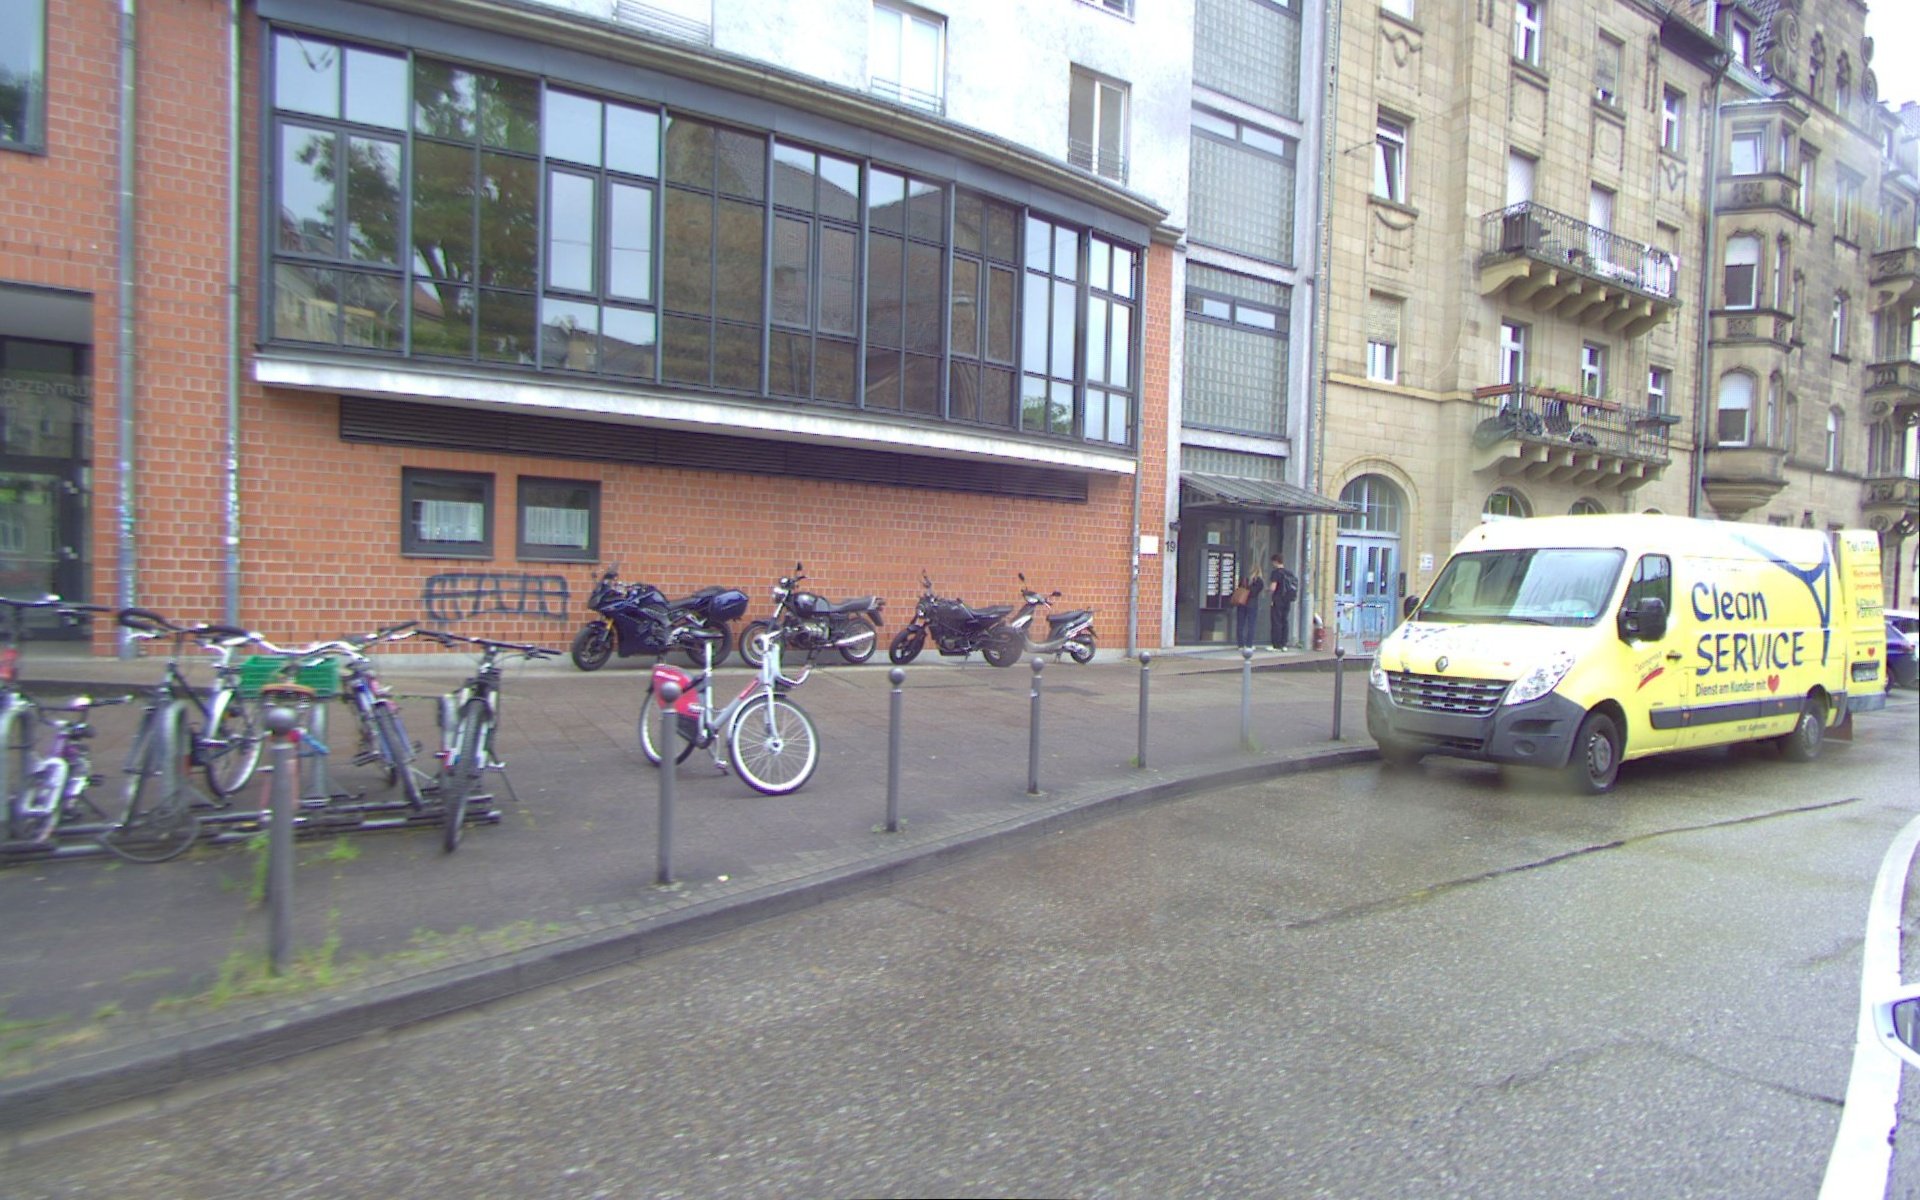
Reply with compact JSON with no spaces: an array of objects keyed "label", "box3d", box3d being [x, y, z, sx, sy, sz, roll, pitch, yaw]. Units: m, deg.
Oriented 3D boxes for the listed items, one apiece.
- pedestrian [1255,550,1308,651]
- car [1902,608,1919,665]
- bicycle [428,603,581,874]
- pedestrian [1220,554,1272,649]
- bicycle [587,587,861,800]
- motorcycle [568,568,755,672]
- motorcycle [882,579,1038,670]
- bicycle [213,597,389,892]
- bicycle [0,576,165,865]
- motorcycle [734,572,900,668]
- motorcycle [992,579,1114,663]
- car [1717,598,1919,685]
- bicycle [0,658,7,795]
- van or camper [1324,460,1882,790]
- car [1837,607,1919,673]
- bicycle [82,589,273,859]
[{"label":"pedestrian","box3d":[5.824,0.014,18.186,0.652,1.780,0.794,1,0,36]},{"label":"car","box3d":[28.803,1.140,27.710,3.595,1.579,1.808,4,2,24]},{"label":"bicycle","box3d":[-2.585,0.633,5.564,0.587,1.112,2.106,1,2,-29]},{"label":"pedestrian","box3d":[5.295,0.025,18.586,0.652,1.697,0.794,1,0,36]},{"label":"bicycle","box3d":[-1.650,0.587,6.976,1.778,1.229,0.631,4,2,24]},{"label":"motorcycle","box3d":[-3.702,0.247,12.502,2.091,1.190,0.749,1,3,-30]},{"label":"motorcycle","box3d":[-0.003,0.357,14.540,2.082,1.190,0.752,2,3,-19]},{"label":"bicycle","box3d":[-3.303,0.596,5.178,0.587,1.112,2.122,1,2,-29]},{"label":"bicycle","box3d":[-4.613,0.505,5.052,0.560,1.183,1.796,1,2,-25]},{"label":"motorcycle","box3d":[-1.936,0.264,13.698,2.094,1.190,0.748,1,3,-34]},{"label":"motorcycle","box3d":[1.434,0.316,15.606,1.748,1.190,0.572,3,3,-7]},{"label":"car","box3d":[18.624,0.856,21.386,3.595,1.579,1.798,4,2,24]},{"label":"bicycle","box3d":[-5.090,0.726,4.701,0.500,0.741,1.714,1,2,-29]},{"label":"van or camper","box3d":[6.920,0.409,10.466,6.797,2.563,2.111,4,-4,-31]},{"label":"car","box3d":[24.223,1.047,24.488,3.778,1.499,1.885,3,2,19]},{"label":"bicycle","box3d":[-4.073,0.538,5.344,0.500,1.112,1.905,1,2,-29]}]
